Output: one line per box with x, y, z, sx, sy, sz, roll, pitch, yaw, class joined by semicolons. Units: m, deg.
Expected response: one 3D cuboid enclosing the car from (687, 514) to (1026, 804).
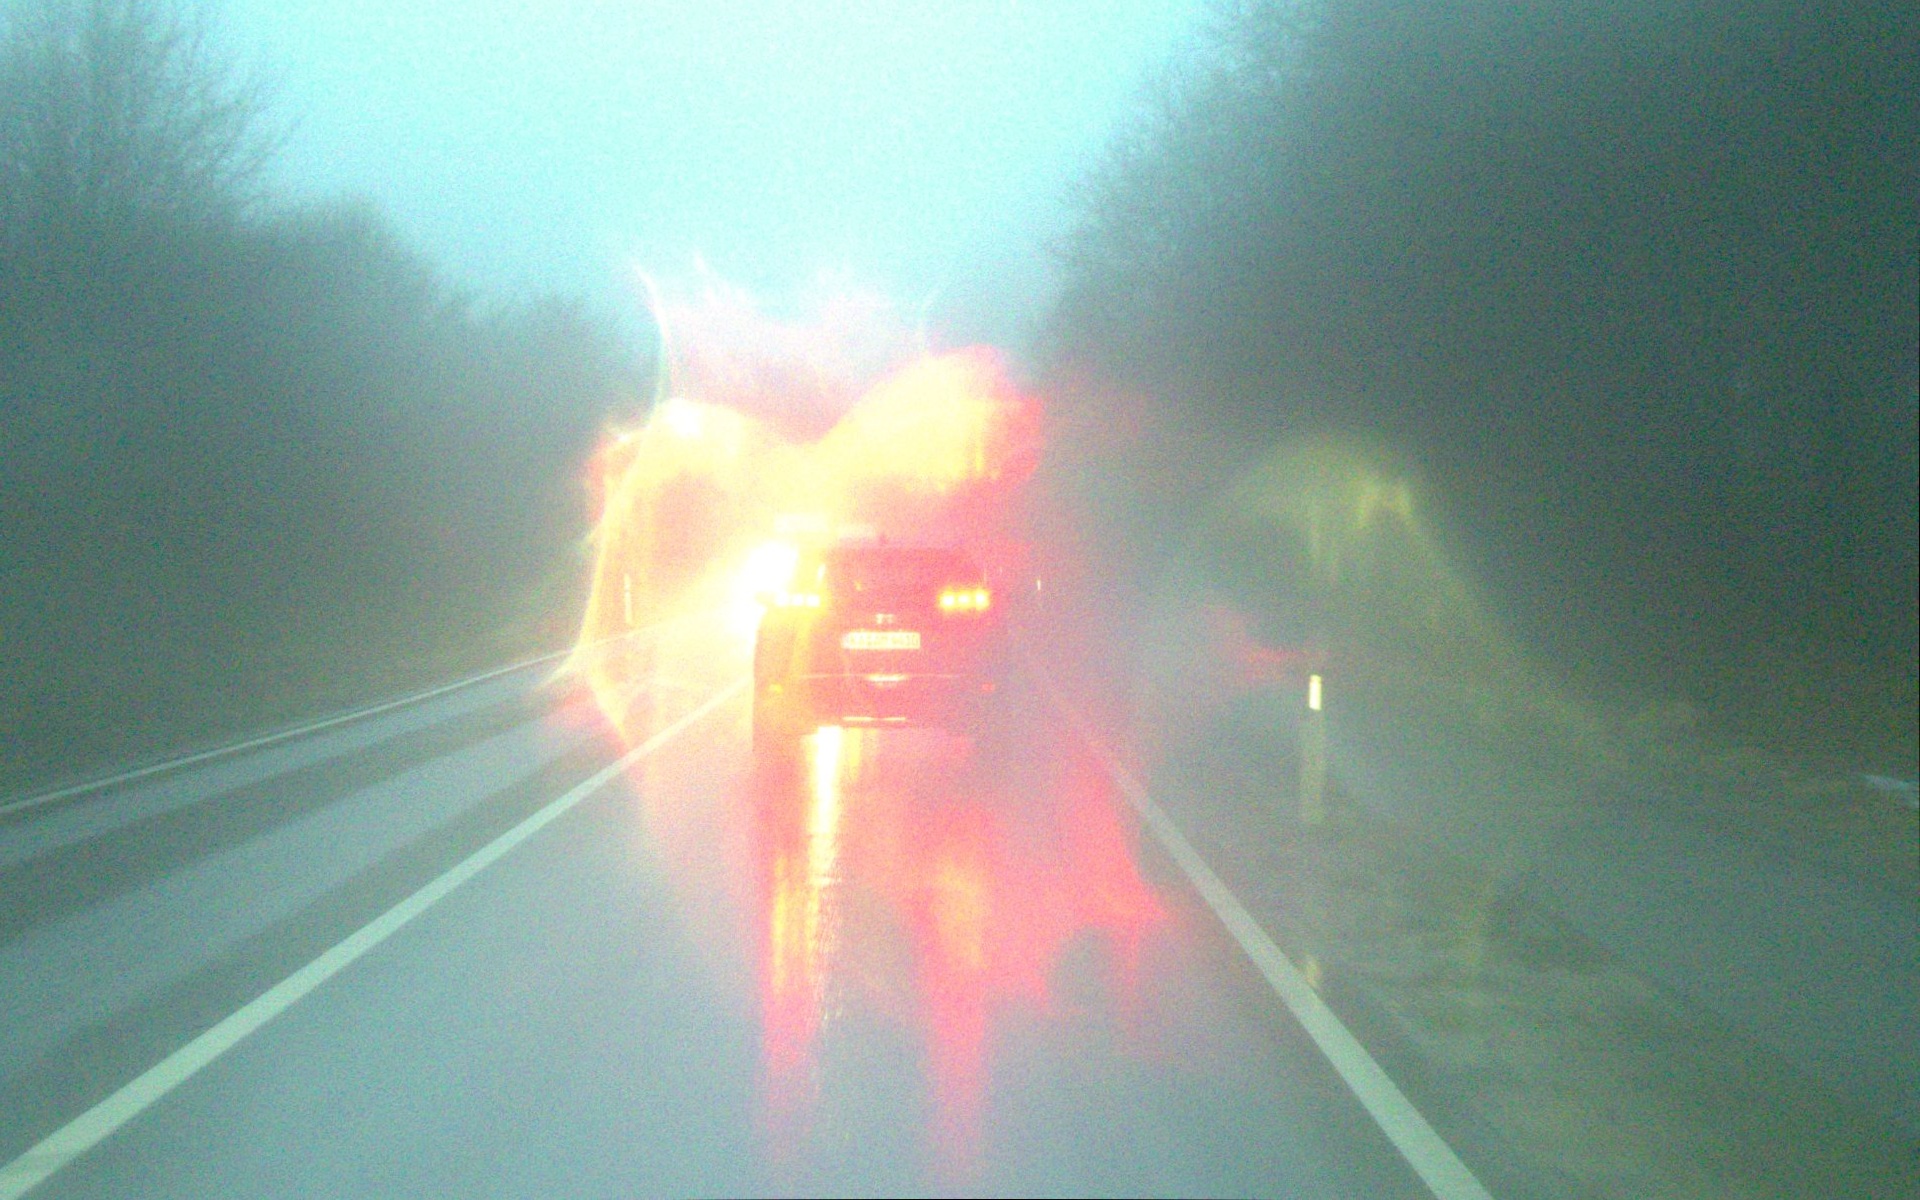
-0.709;0.368;25.003;2.198;1.871;4.827;1;0;-1;car
